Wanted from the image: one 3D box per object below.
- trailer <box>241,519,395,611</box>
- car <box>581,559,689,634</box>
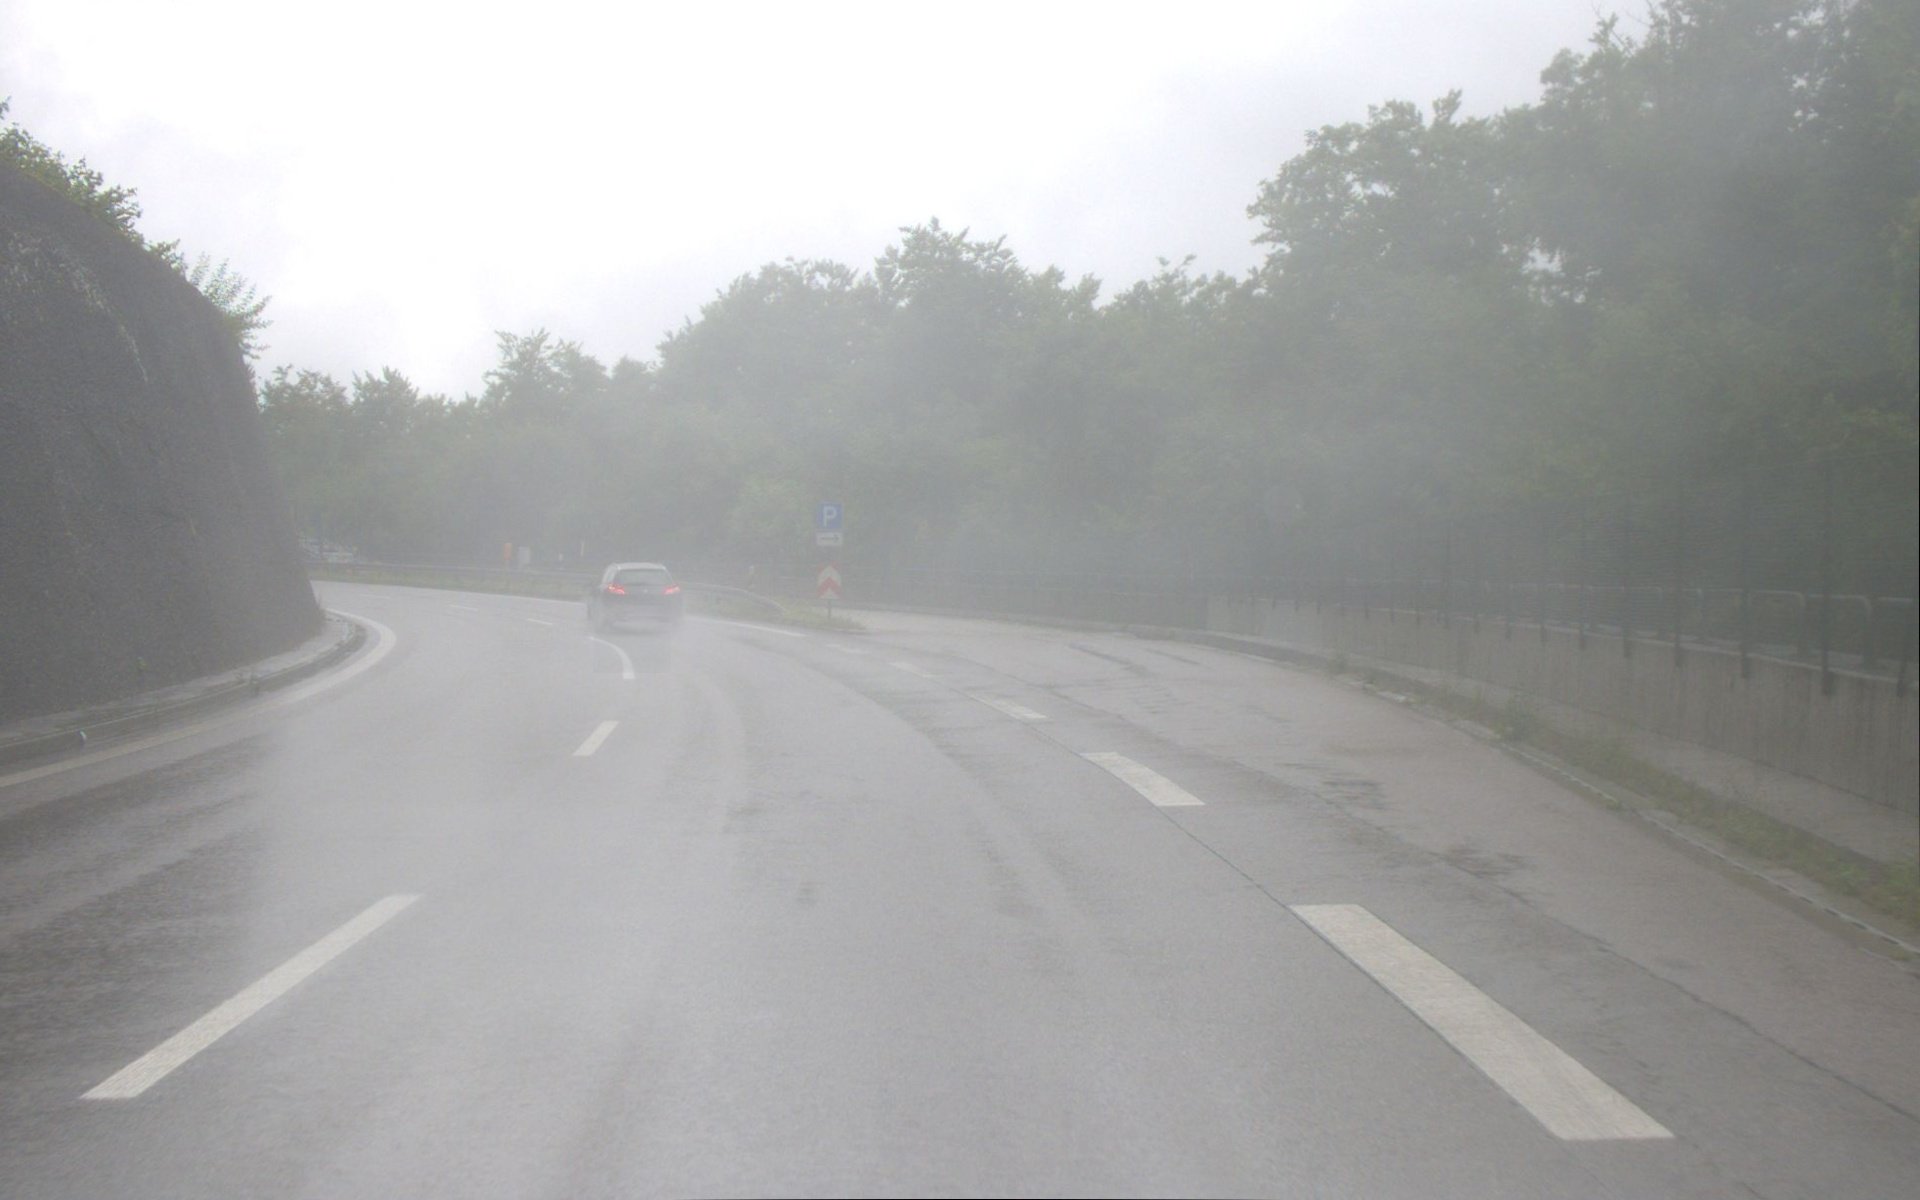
[{"bbox_3d":[-31.584,-1.798,168.425,2.892,4.230,14.699,1,1,-29],"label":"trailer"},{"bbox_3d":[-7.168,-0.098,75.580,1.903,1.494,4.001,3,0,-11],"label":"car"}]
